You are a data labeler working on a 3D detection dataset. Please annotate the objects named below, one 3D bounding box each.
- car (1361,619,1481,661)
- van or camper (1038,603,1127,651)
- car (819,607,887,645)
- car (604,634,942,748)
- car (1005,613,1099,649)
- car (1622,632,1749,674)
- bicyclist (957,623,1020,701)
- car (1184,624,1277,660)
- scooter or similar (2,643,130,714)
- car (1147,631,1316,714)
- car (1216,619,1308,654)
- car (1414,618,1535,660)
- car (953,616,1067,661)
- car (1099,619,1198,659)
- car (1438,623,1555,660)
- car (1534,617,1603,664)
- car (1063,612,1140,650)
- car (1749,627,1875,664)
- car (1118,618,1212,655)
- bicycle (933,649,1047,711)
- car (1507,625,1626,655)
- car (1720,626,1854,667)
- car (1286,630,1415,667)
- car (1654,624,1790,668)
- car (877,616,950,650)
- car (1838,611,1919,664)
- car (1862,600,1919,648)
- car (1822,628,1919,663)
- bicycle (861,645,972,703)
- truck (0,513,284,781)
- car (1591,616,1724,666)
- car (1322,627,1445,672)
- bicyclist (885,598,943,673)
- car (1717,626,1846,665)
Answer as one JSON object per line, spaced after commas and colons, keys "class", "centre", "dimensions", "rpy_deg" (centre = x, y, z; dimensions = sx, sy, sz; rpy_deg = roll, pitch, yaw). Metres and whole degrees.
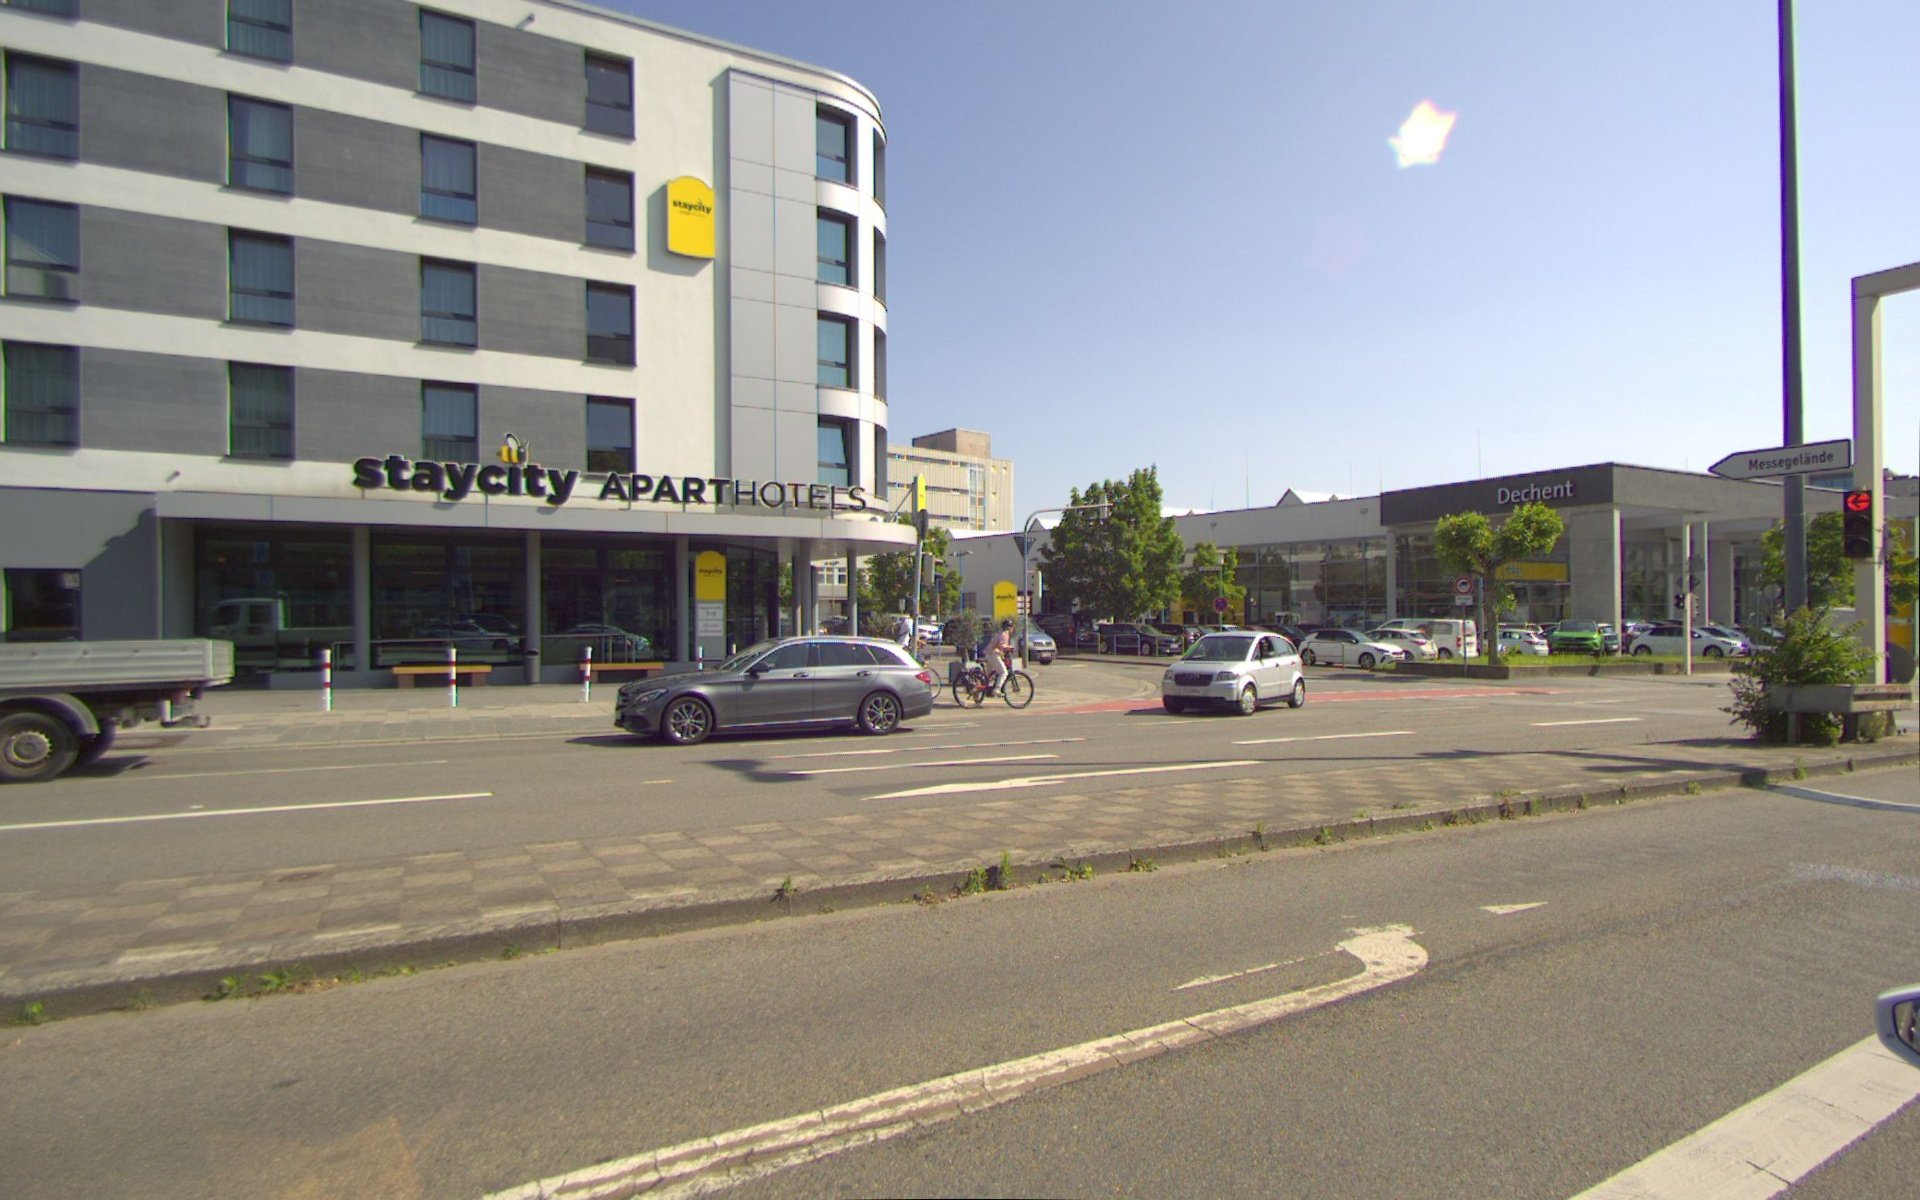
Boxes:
{"class": "car", "centre": [19.842, 1.703, 43.346], "dimensions": [1.982, 1.719, 4.323], "rpy_deg": [1, -2, -38]}
{"class": "van or camper", "centre": [6.404, 1.419, 52.999], "dimensions": [1.983, 2.432, 4.678], "rpy_deg": [1, -2, -38]}
{"class": "car", "centre": [-6.799, 1.619, 63.455], "dimensions": [1.985, 2.158, 4.565], "rpy_deg": [2, 0, -42]}
{"class": "car", "centre": [-2.710, 1.247, 14.783], "dimensions": [4.530, 1.446, 1.947], "rpy_deg": [1, -3, -29]}
{"class": "car", "centre": [4.566, 1.525, 50.246], "dimensions": [4.304, 1.719, 1.991], "rpy_deg": [-1, -2, 39]}
{"class": "car", "centre": [30.455, 2.206, 42.269], "dimensions": [1.981, 1.620, 3.959], "rpy_deg": [1, -2, -36]}
{"class": "bicyclist", "centre": [0.554, 1.199, 19.746], "dimensions": [1.013, 1.479, 0.766], "rpy_deg": [1, -1, -24]}
{"class": "car", "centre": [13.797, 2.121, 51.438], "dimensions": [1.980, 1.719, 4.328], "rpy_deg": [1, -2, -35]}
{"class": "scooter or similar", "centre": [-14.690, 1.285, 16.539], "dimensions": [1.499, 1.127, 0.349], "rpy_deg": [2, -1, -28]}
{"class": "car", "centre": [5.393, 1.359, 19.678], "dimensions": [1.751, 1.457, 3.898], "rpy_deg": [-3, -3, 39]}
{"class": "car", "centre": [15.813, 1.882, 52.694], "dimensions": [1.982, 1.719, 4.324], "rpy_deg": [1, -2, -37]}
{"class": "car", "centre": [22.549, 1.682, 44.138], "dimensions": [1.982, 1.719, 4.323], "rpy_deg": [1, -2, -38]}
{"class": "car", "centre": [1.980, 1.550, 41.217], "dimensions": [1.984, 1.737, 4.773], "rpy_deg": [1, -2, -40]}
{"class": "car", "centre": [8.536, 1.748, 45.832], "dimensions": [1.980, 1.719, 4.328], "rpy_deg": [1, -2, -35]}
{"class": "car", "centre": [24.492, 1.873, 45.962], "dimensions": [1.982, 1.612, 4.325], "rpy_deg": [1, -2, -37]}
{"class": "car", "centre": [23.995, 1.609, 39.719], "dimensions": [1.870, 1.756, 3.293], "rpy_deg": [0, -3, 23]}
{"class": "car", "centre": [7.756, 1.696, 55.303], "dimensions": [1.983, 2.040, 3.956], "rpy_deg": [1, -2, -38]}
{"class": "car", "centre": [41.653, 2.185, 49.184], "dimensions": [1.978, 1.719, 4.333], "rpy_deg": [1, -2, -32]}
{"class": "car", "centre": [9.826, 1.735, 48.402], "dimensions": [1.980, 1.719, 4.328], "rpy_deg": [1, -2, -35]}
{"class": "bicycle", "centre": [0.593, 1.545, 19.687], "dimensions": [2.132, 1.131, 0.765], "rpy_deg": [1, -1, -25]}
{"class": "car", "centre": [27.867, 1.836, 46.268], "dimensions": [1.982, 1.284, 4.325], "rpy_deg": [4, -4, -37]}
{"class": "car", "centre": [37.440, 2.078, 45.596], "dimensions": [1.978, 1.719, 4.333], "rpy_deg": [2, -1, -32]}
{"class": "car", "centre": [15.119, 1.839, 39.064], "dimensions": [1.980, 1.317, 4.328], "rpy_deg": [1, -2, -35]}
{"class": "car", "centre": [32.852, 1.943, 43.409], "dimensions": [1.978, 1.789, 4.274], "rpy_deg": [1, -2, -32]}
{"class": "car", "centre": [-2.757, 1.911, 59.383], "dimensions": [1.971, 1.815, 4.376], "rpy_deg": [2, 0, -42]}
{"class": "car", "centre": [49.088, 1.936, 52.396], "dimensions": [2.096, 2.720, 4.490], "rpy_deg": [1, -1, -21]}
{"class": "car", "centre": [53.238, 1.351, 55.758], "dimensions": [1.973, 2.635, 4.345], "rpy_deg": [1, -1, -24]}
{"class": "car", "centre": [47.018, 2.291, 51.129], "dimensions": [1.973, 1.719, 4.345], "rpy_deg": [1, -1, -24]}
{"class": "bicycle", "centre": [-0.892, 1.487, 20.559], "dimensions": [2.128, 1.131, 0.767], "rpy_deg": [1, -1, -19]}
{"class": "truck", "centre": [-10.711, 0.470, 10.086], "dimensions": [6.366, 2.578, 2.345], "rpy_deg": [1, -3, -32]}
{"class": "car", "centre": [27.353, 1.575, 39.495], "dimensions": [1.978, 1.862, 3.849], "rpy_deg": [1, -2, -32]}
{"class": "car", "centre": [17.394, 1.988, 41.423], "dimensions": [1.980, 1.719, 4.328], "rpy_deg": [1, -2, -35]}
{"class": "bicyclist", "centre": [-0.941, 0.722, 20.544], "dimensions": [1.010, 1.479, 0.767], "rpy_deg": [1, -1, -18]}
{"class": "car", "centre": [38.852, 2.131, 47.595], "dimensions": [1.978, 1.719, 4.333], "rpy_deg": [1, -2, -32]}
